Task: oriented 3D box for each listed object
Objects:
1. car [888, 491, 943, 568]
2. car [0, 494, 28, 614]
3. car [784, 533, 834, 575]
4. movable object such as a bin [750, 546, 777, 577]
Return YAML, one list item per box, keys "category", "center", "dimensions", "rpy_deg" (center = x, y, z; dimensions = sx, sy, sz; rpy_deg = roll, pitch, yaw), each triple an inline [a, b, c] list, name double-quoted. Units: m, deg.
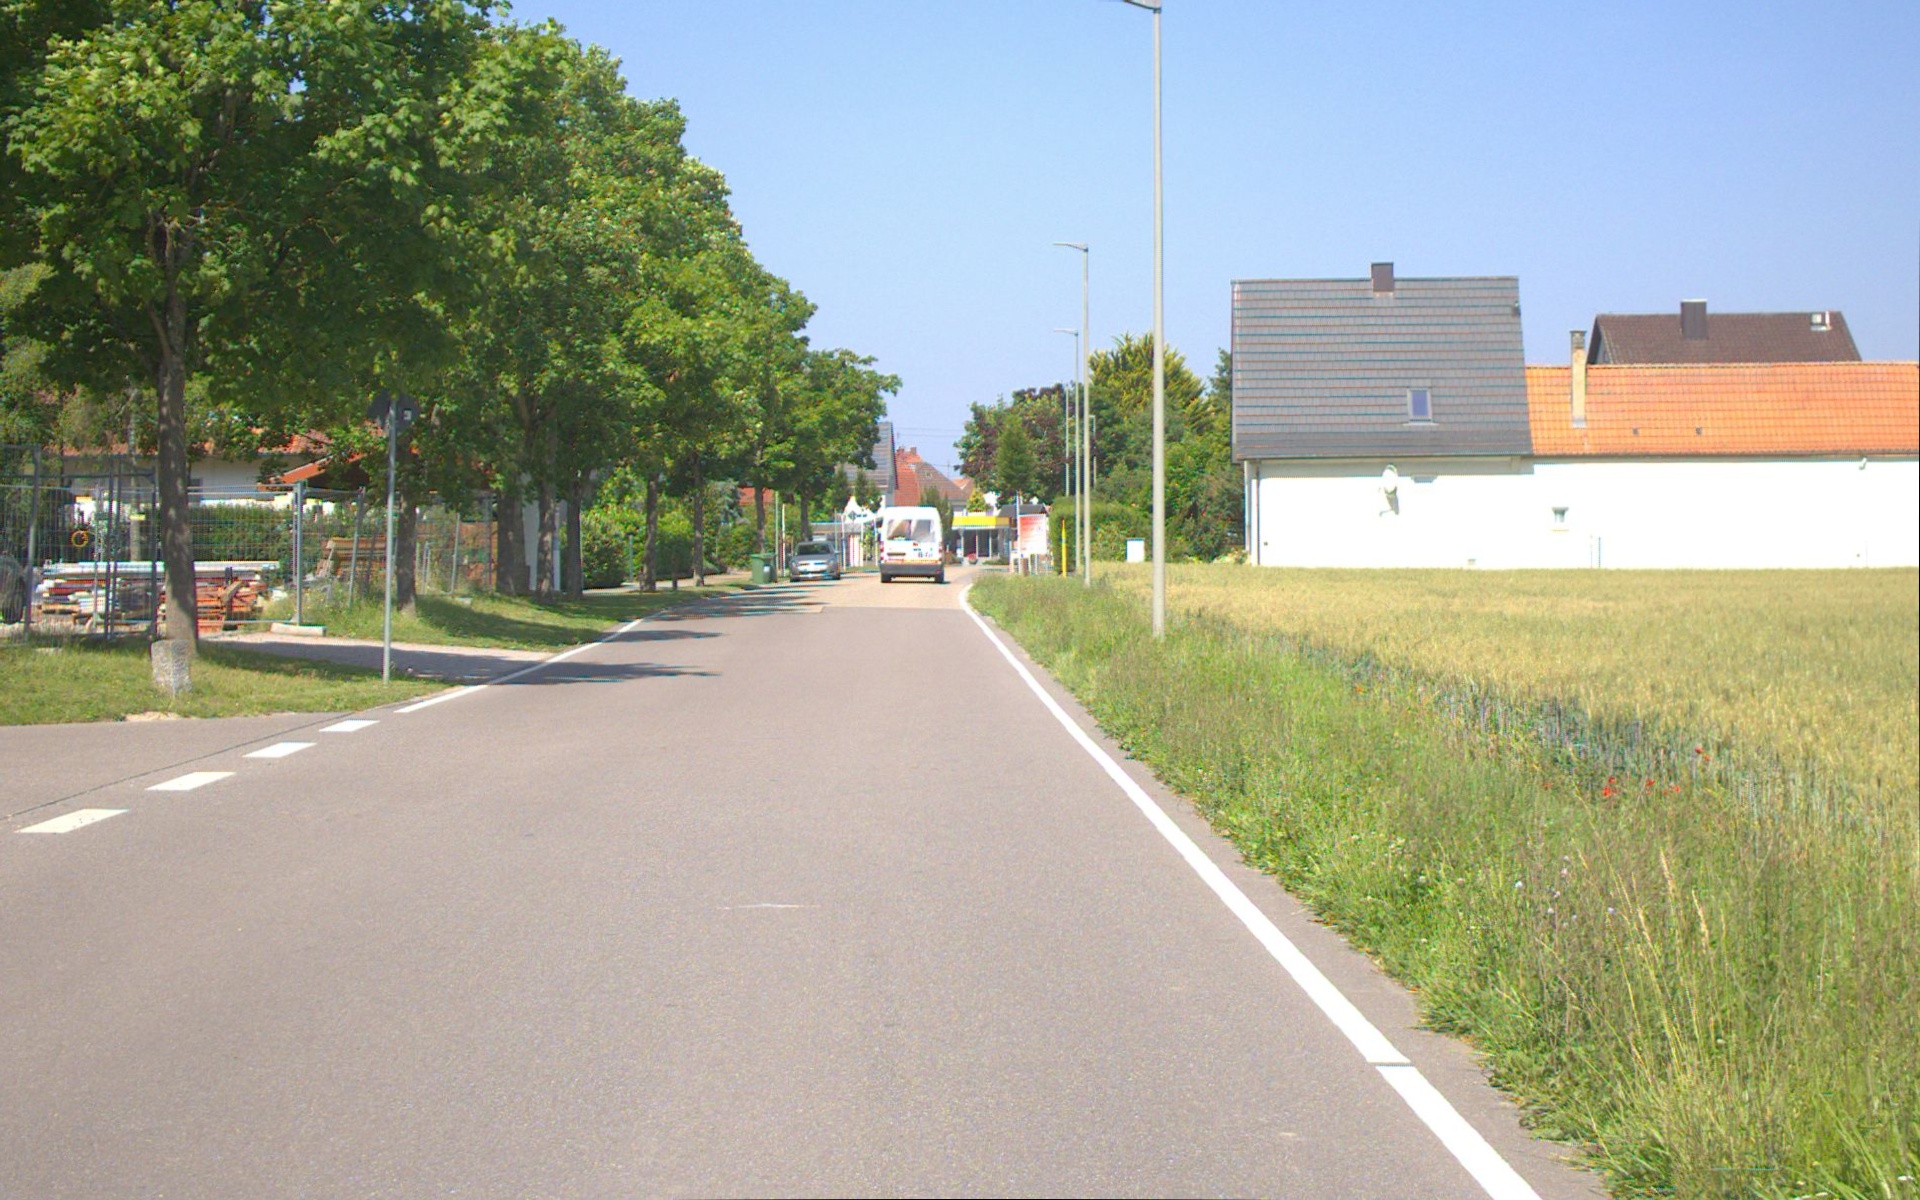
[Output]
- category: "car"
  center: [-1.447, -2.297, 111.975]
  dimensions: [1.737, 2.424, 4.374]
  rpy_deg: [-1, 1, -1]
- category: "car"
  center: [-15.590, -0.691, 51.850]
  dimensions: [1.970, 1.832, 4.329]
  rpy_deg: [0, 1, -1]
- category: "car"
  center: [-5.500, -1.688, 125.474]
  dimensions: [1.647, 1.419, 4.080]
  rpy_deg: [-3, 1, -1]
- category: "movable object such as a bin"
  center: [-6.855, -1.337, 119.980]
  dimensions: [0.714, 1.075, 0.639]
  rpy_deg: [0, 1, 27]
